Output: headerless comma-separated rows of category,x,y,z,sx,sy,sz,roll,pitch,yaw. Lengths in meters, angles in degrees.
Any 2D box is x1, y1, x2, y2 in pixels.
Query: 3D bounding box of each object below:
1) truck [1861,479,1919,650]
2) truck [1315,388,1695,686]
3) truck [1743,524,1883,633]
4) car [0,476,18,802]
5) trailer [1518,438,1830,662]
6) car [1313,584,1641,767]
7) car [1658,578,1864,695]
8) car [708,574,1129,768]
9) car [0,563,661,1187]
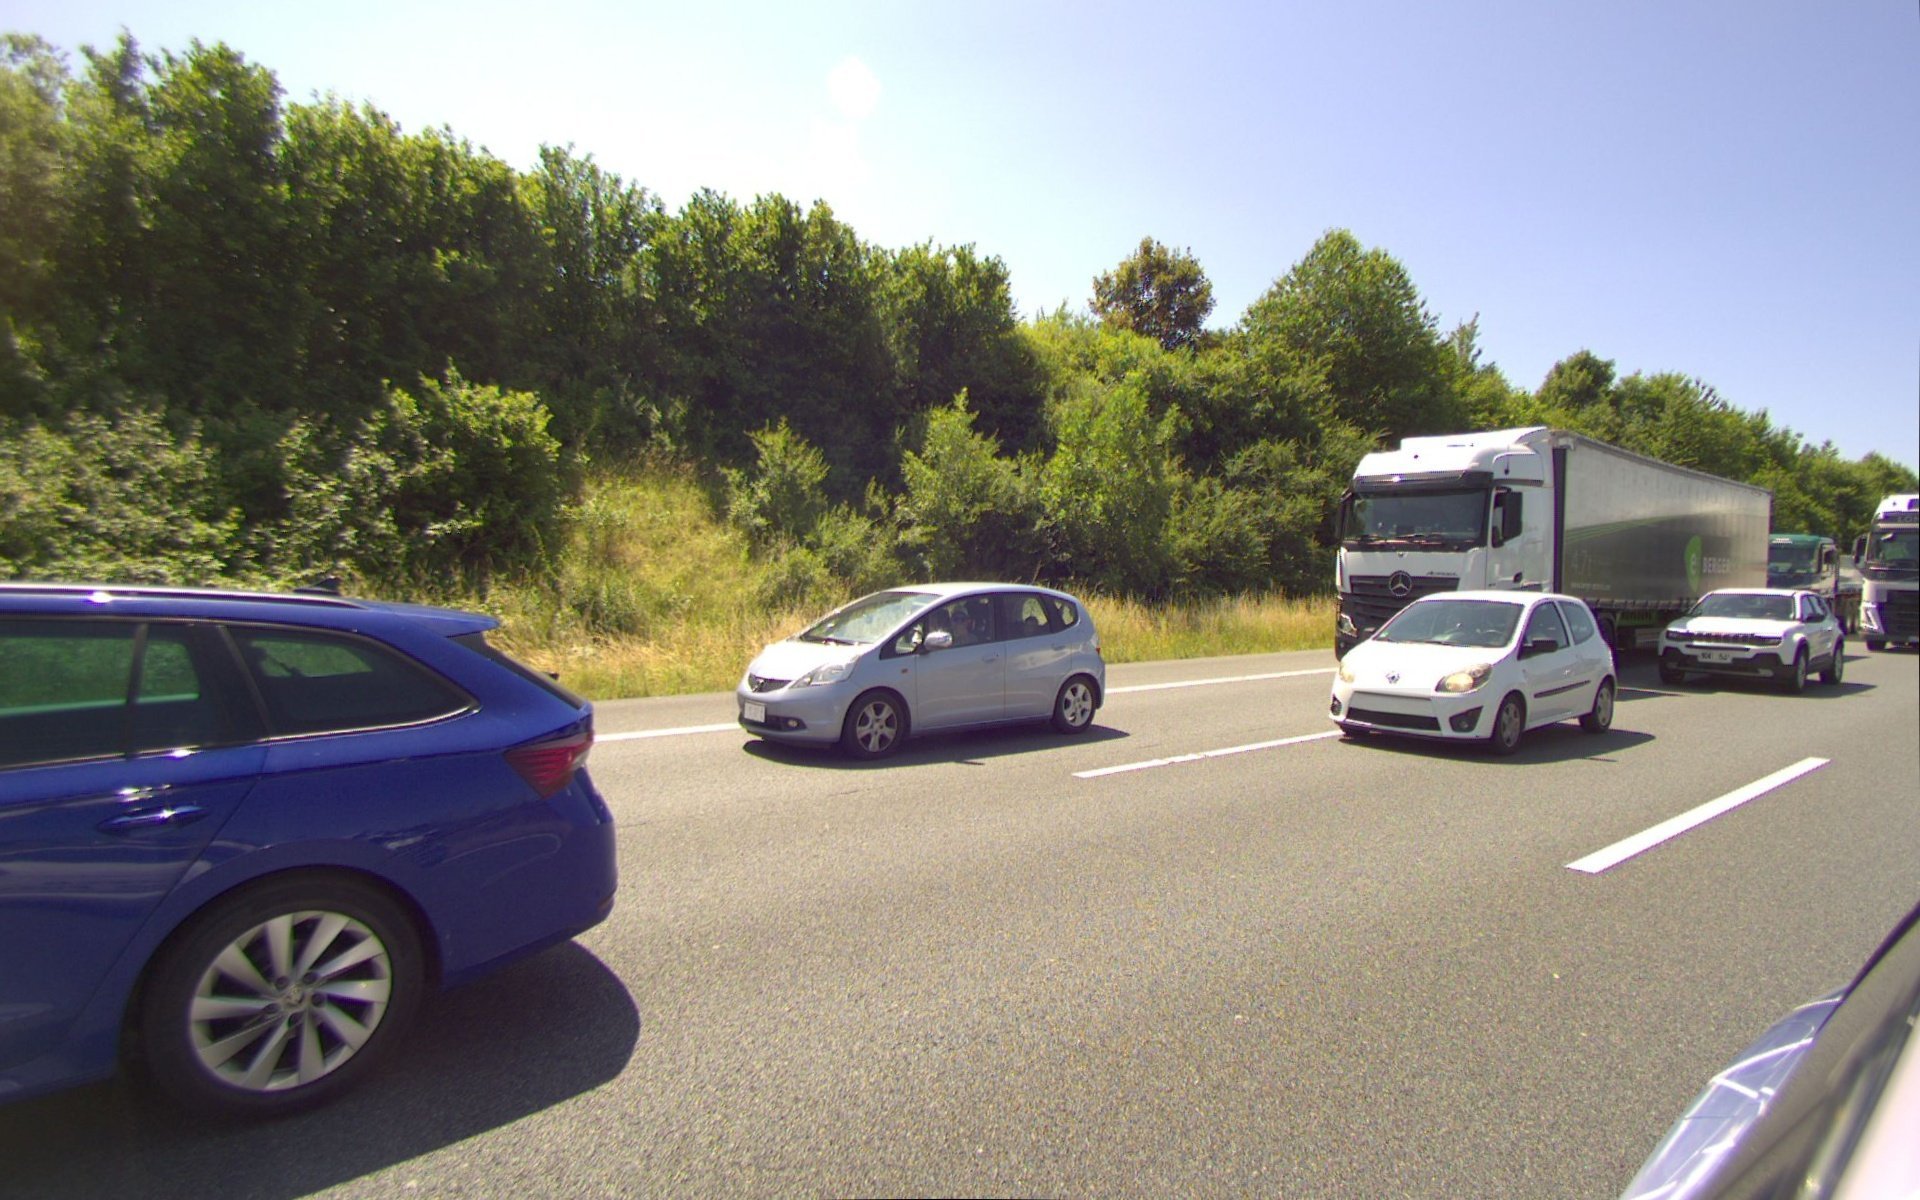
truck,26.164,-0.884,26.269,8.209,4.044,2.750,-1,1,-38
truck,9.964,-0.973,18.015,8.321,4.208,2.880,-1,1,-38
truck,27.079,-0.689,32.053,5.572,3.185,2.300,-1,1,-38
car,-7.609,0.273,4.552,4.769,1.964,1.918,-1,2,-39
trailer,17.256,-1.045,23.896,11.858,4.208,2.880,-1,1,-39
car,5.358,0.602,10.311,3.742,1.451,1.609,-1,3,-40
car,12.784,0.471,16.087,3.815,1.577,1.748,-1,3,-39
car,-0.282,0.528,9.808,3.852,1.479,1.666,-1,3,-40
car,-3.284,0.635,2.641,4.491,1.434,1.780,-1,3,-40
